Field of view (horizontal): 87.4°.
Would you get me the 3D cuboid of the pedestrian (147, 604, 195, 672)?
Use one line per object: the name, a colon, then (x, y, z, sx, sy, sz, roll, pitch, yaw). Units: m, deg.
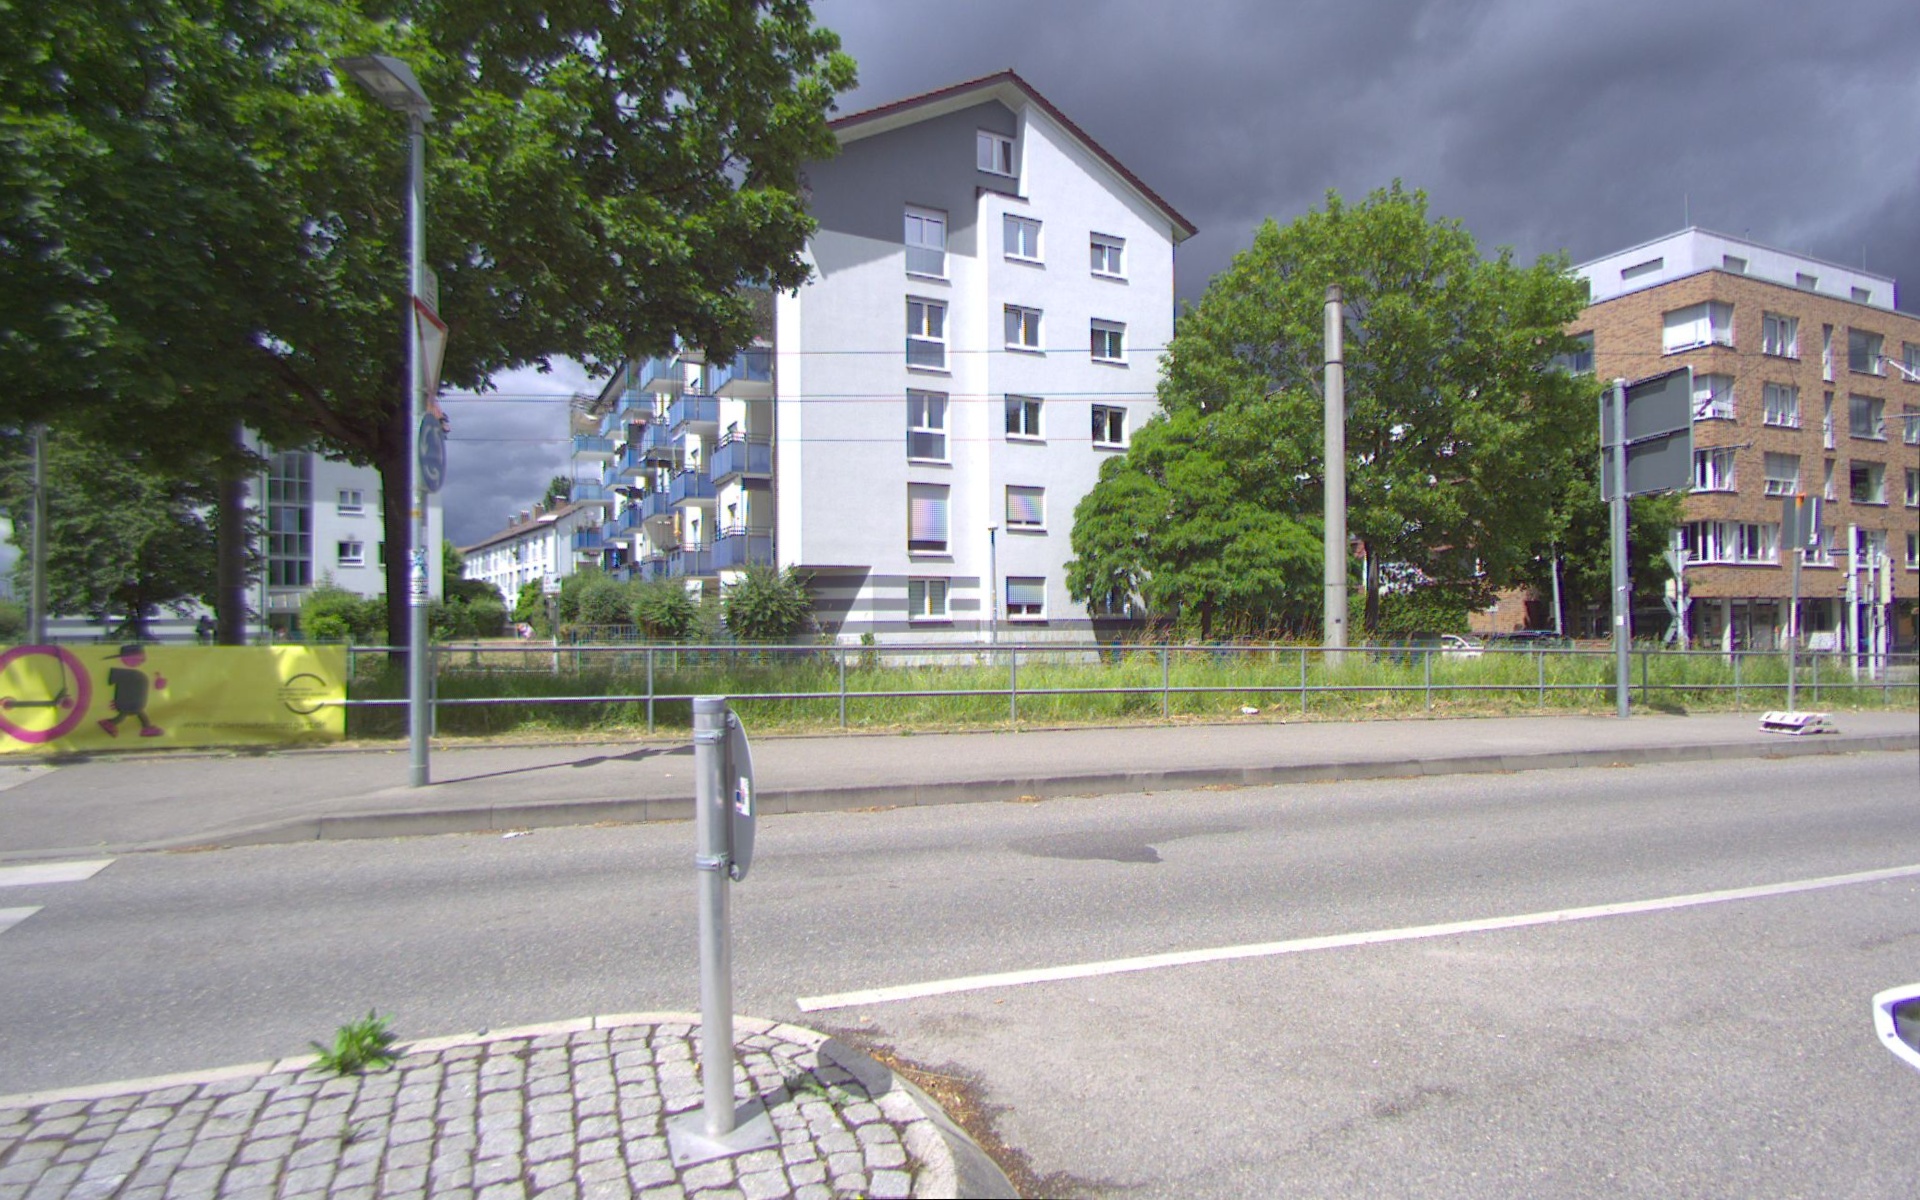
pedestrian: (-24.034, 1.160, 30.598, 0.717, 2.040, 0.979, 0, -1, -7)

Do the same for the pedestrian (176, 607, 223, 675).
pedestrian: (-23.254, 1.255, 30.722, 0.717, 2.040, 0.979, 0, -1, -7)

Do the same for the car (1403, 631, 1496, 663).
car: (21.376, 2.016, 43.949, 1.603, 1.252, 3.318, -2, 0, -30)
